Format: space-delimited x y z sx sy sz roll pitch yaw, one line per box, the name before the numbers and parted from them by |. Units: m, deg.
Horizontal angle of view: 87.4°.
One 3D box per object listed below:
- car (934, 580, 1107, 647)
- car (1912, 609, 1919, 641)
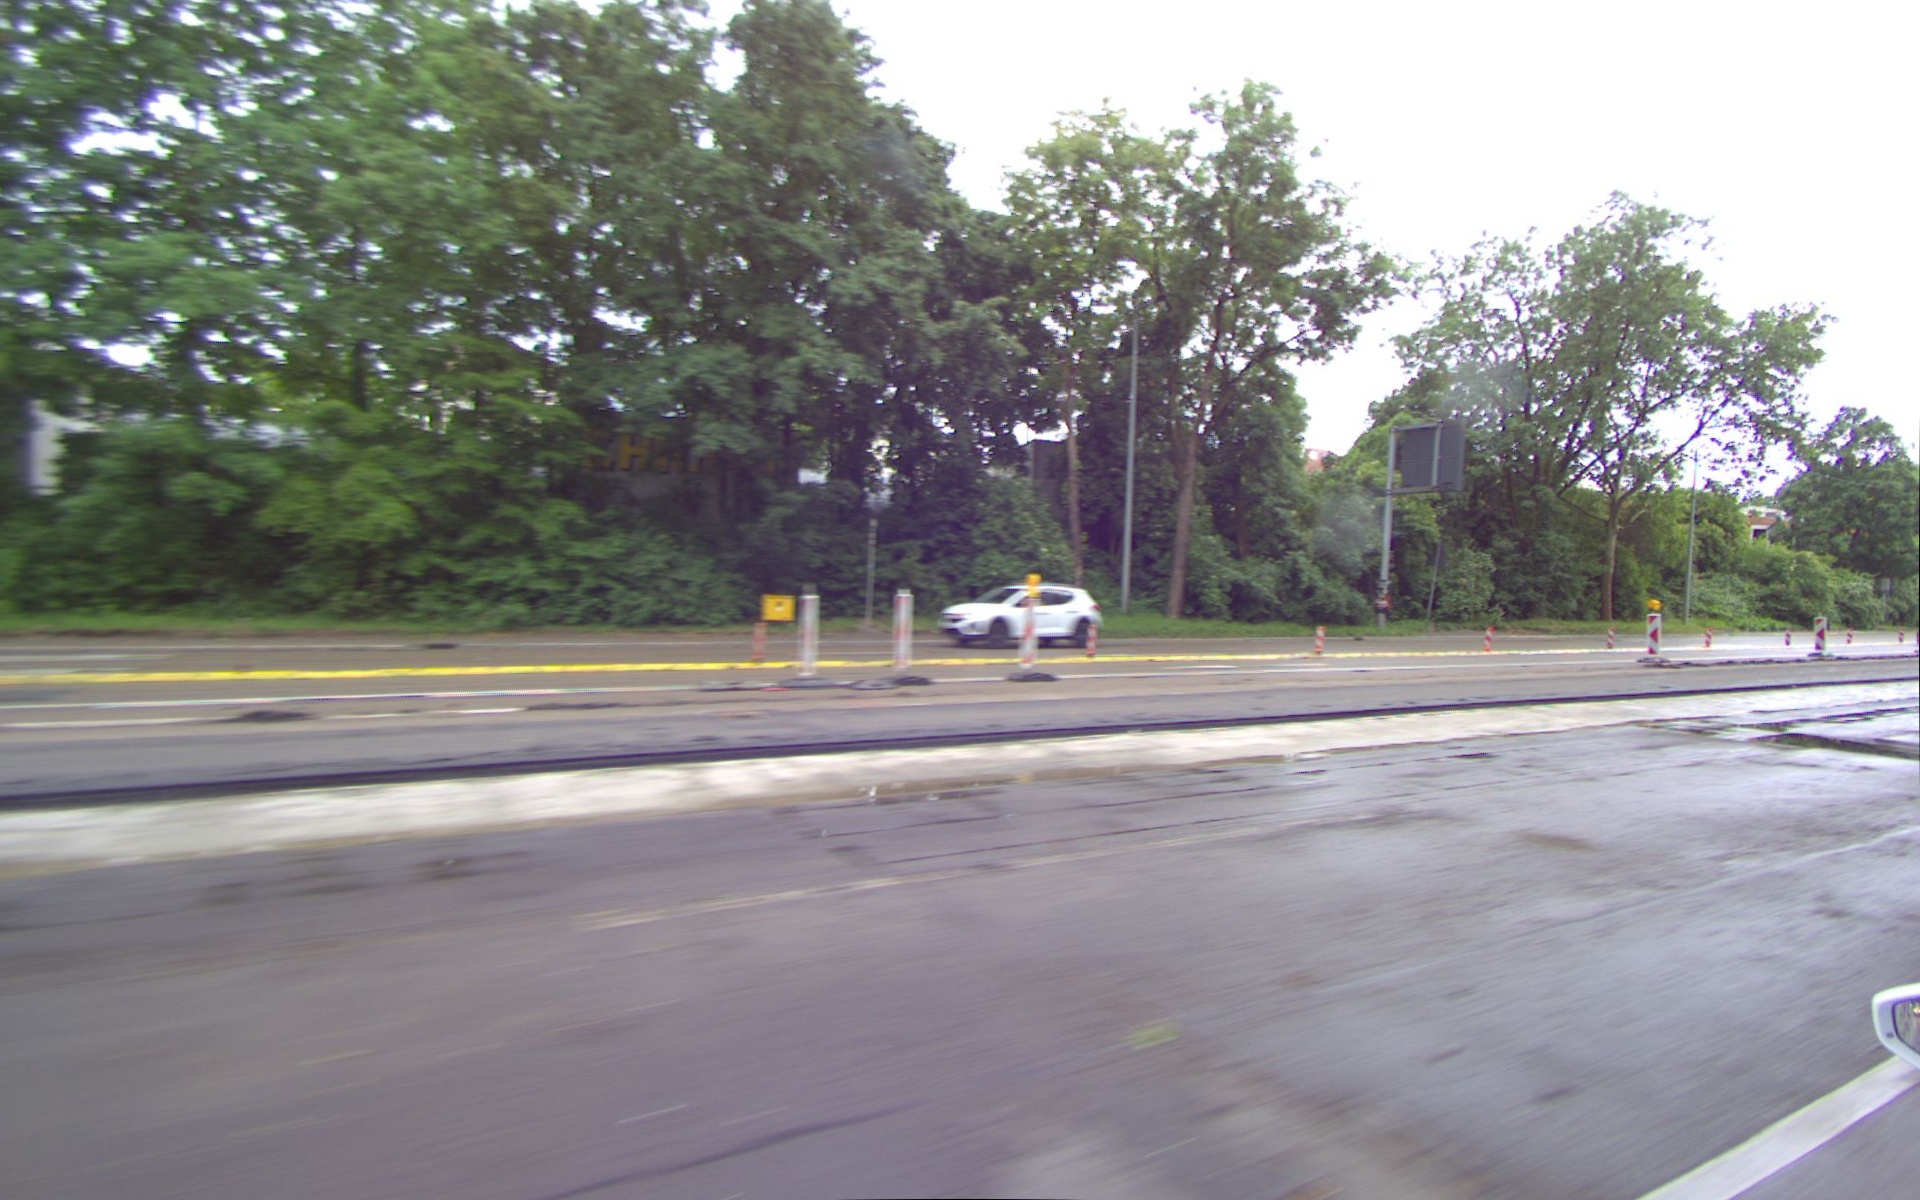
car | 1.529 0.353 24.980 4.110 1.561 1.658 1 -1 -31
car | 45.347 1.189 46.042 3.998 1.423 1.598 1 2 -33
